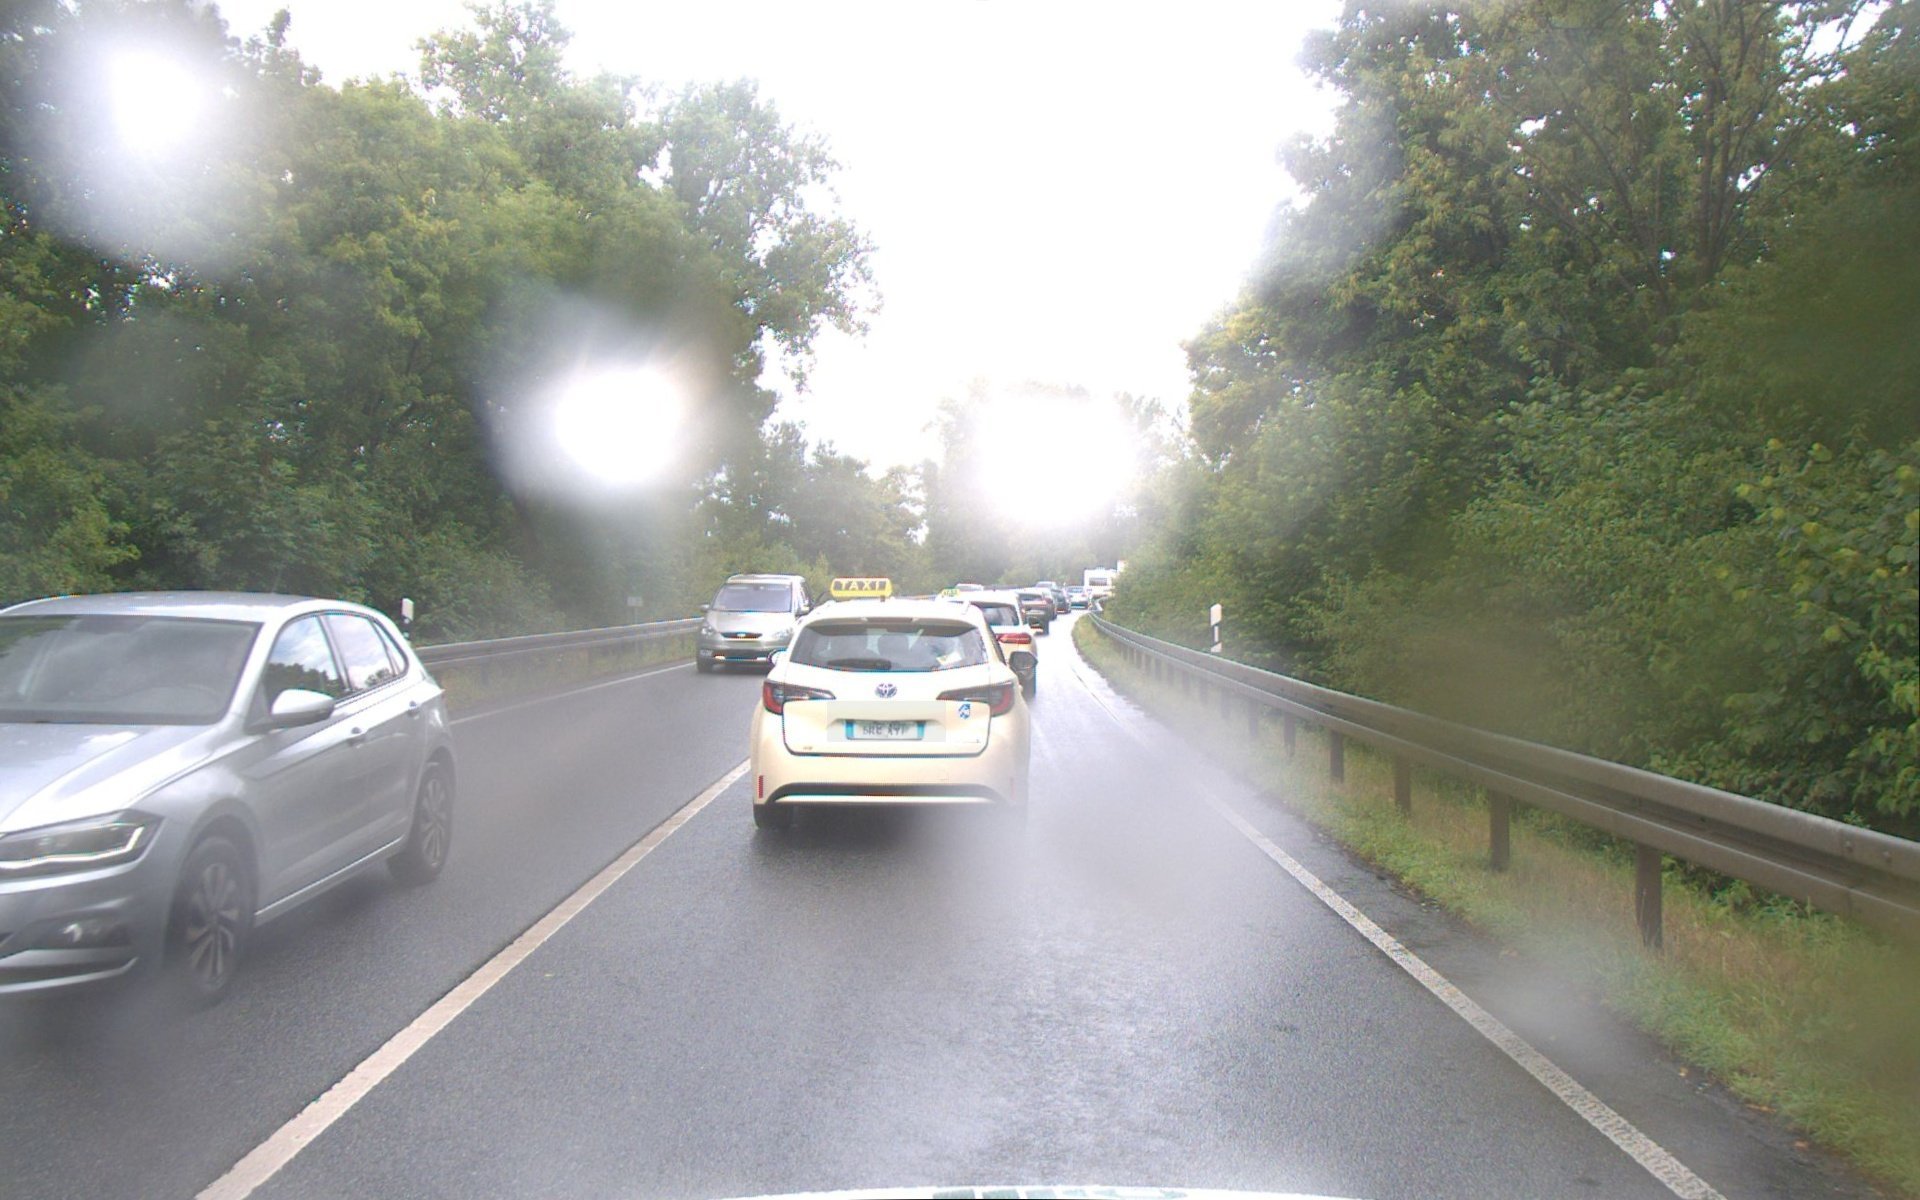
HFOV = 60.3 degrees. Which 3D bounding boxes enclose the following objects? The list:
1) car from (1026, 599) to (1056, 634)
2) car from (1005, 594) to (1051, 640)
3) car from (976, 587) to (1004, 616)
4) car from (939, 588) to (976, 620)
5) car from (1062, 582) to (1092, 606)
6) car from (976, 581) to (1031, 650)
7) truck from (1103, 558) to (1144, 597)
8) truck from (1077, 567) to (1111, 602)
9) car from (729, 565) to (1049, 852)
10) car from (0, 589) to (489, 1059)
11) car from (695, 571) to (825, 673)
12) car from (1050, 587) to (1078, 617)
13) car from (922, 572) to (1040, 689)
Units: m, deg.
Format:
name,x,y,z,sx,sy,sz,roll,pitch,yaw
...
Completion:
name,x,y,z,sx,sy,sz,roll,pitch,yaw
car,3.812,0.764,77.527,1.142,1.574,2.606,1,-1,8
car,2.388,0.610,57.965,1.577,1.574,3.815,0,-1,2
car,2.219,0.138,120.145,1.952,2.049,4.001,1,0,2
car,-0.109,0.185,84.185,1.769,1.559,4.207,1,0,1
car,7.958,-0.382,112.064,1.732,1.574,3.817,1,0,8
car,1.035,0.373,40.205,1.274,1.574,3.260,1,0,1
truck,16.528,-2.210,167.257,3.041,3.745,7.005,1,-1,15
truck,11.060,-1.224,136.778,2.496,2.760,7.537,1,0,3
car,-0.388,0.633,11.492,1.796,1.608,4.156,1,0,0
car,-3.419,0.701,7.062,1.693,1.456,3.849,1,0,0
car,-3.591,0.396,30.439,1.778,1.715,4.622,1,0,0
car,5.887,0.118,93.724,1.582,1.641,3.623,1,0,3
car,0.303,0.435,24.984,1.633,1.608,3.892,1,0,0
